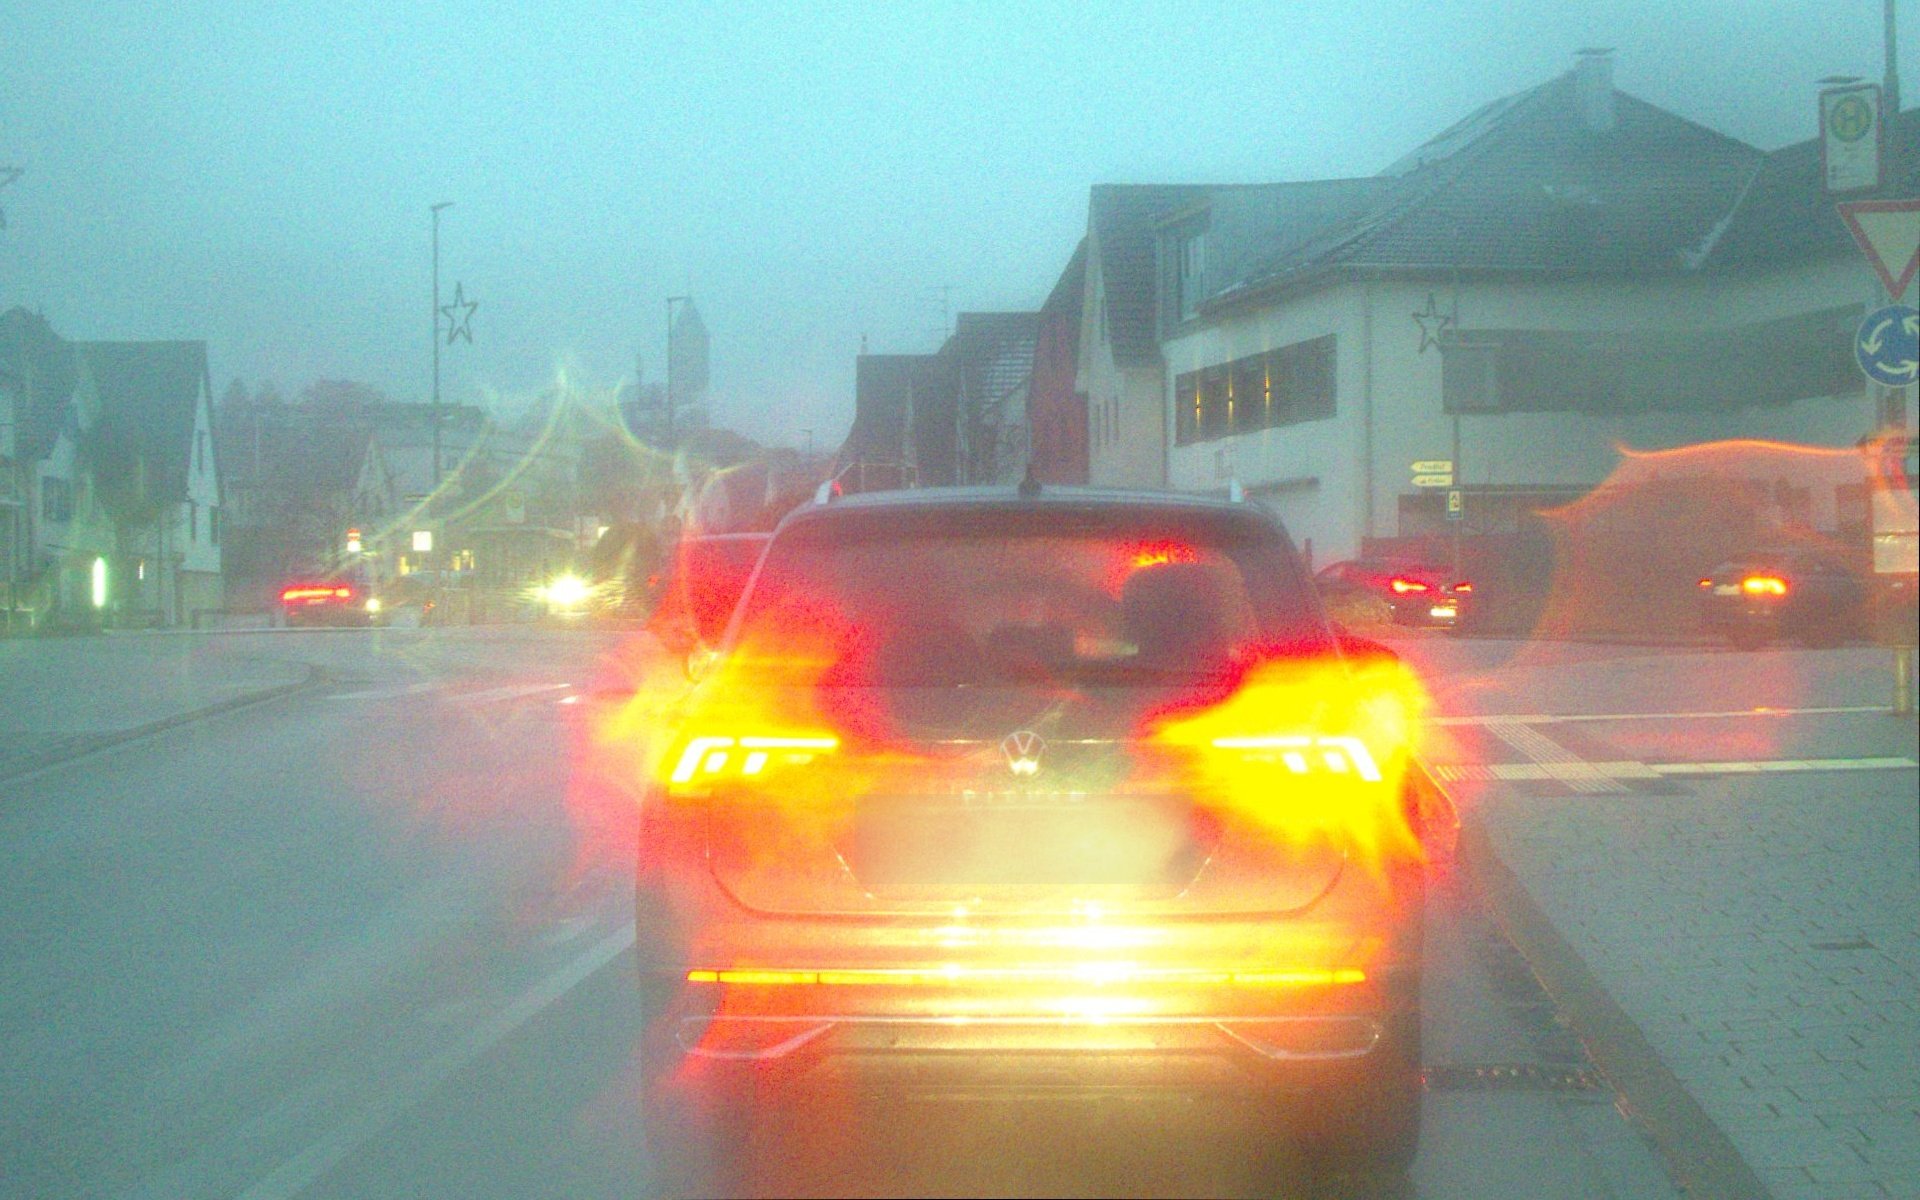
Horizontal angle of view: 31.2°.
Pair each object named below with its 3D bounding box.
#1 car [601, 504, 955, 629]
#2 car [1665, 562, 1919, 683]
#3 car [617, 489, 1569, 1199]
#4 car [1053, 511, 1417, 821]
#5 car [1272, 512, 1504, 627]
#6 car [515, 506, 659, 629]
[{"bbox_3d":[-2.247,-0.426,42.982,3.989,1.413,1.999,-2,1,12],"label":"car"},{"bbox_3d":[11.751,0.331,46.187,3.986,1.474,2.000,2,-1,-21],"label":"car"},{"bbox_3d":[0.320,0.533,9.334,1.964,1.589,4.313,1,1,1],"label":"car"},{"bbox_3d":[1.356,0.270,18.267,1.682,1.448,4.000,1,1,1],"label":"car"},{"bbox_3d":[7.729,-0.574,62.582,2.157,1.984,4.500,-2,1,-24],"label":"car"},{"bbox_3d":[-7.059,-0.606,65.494,1.994,2.196,4.417,2,0,3],"label":"car"}]
